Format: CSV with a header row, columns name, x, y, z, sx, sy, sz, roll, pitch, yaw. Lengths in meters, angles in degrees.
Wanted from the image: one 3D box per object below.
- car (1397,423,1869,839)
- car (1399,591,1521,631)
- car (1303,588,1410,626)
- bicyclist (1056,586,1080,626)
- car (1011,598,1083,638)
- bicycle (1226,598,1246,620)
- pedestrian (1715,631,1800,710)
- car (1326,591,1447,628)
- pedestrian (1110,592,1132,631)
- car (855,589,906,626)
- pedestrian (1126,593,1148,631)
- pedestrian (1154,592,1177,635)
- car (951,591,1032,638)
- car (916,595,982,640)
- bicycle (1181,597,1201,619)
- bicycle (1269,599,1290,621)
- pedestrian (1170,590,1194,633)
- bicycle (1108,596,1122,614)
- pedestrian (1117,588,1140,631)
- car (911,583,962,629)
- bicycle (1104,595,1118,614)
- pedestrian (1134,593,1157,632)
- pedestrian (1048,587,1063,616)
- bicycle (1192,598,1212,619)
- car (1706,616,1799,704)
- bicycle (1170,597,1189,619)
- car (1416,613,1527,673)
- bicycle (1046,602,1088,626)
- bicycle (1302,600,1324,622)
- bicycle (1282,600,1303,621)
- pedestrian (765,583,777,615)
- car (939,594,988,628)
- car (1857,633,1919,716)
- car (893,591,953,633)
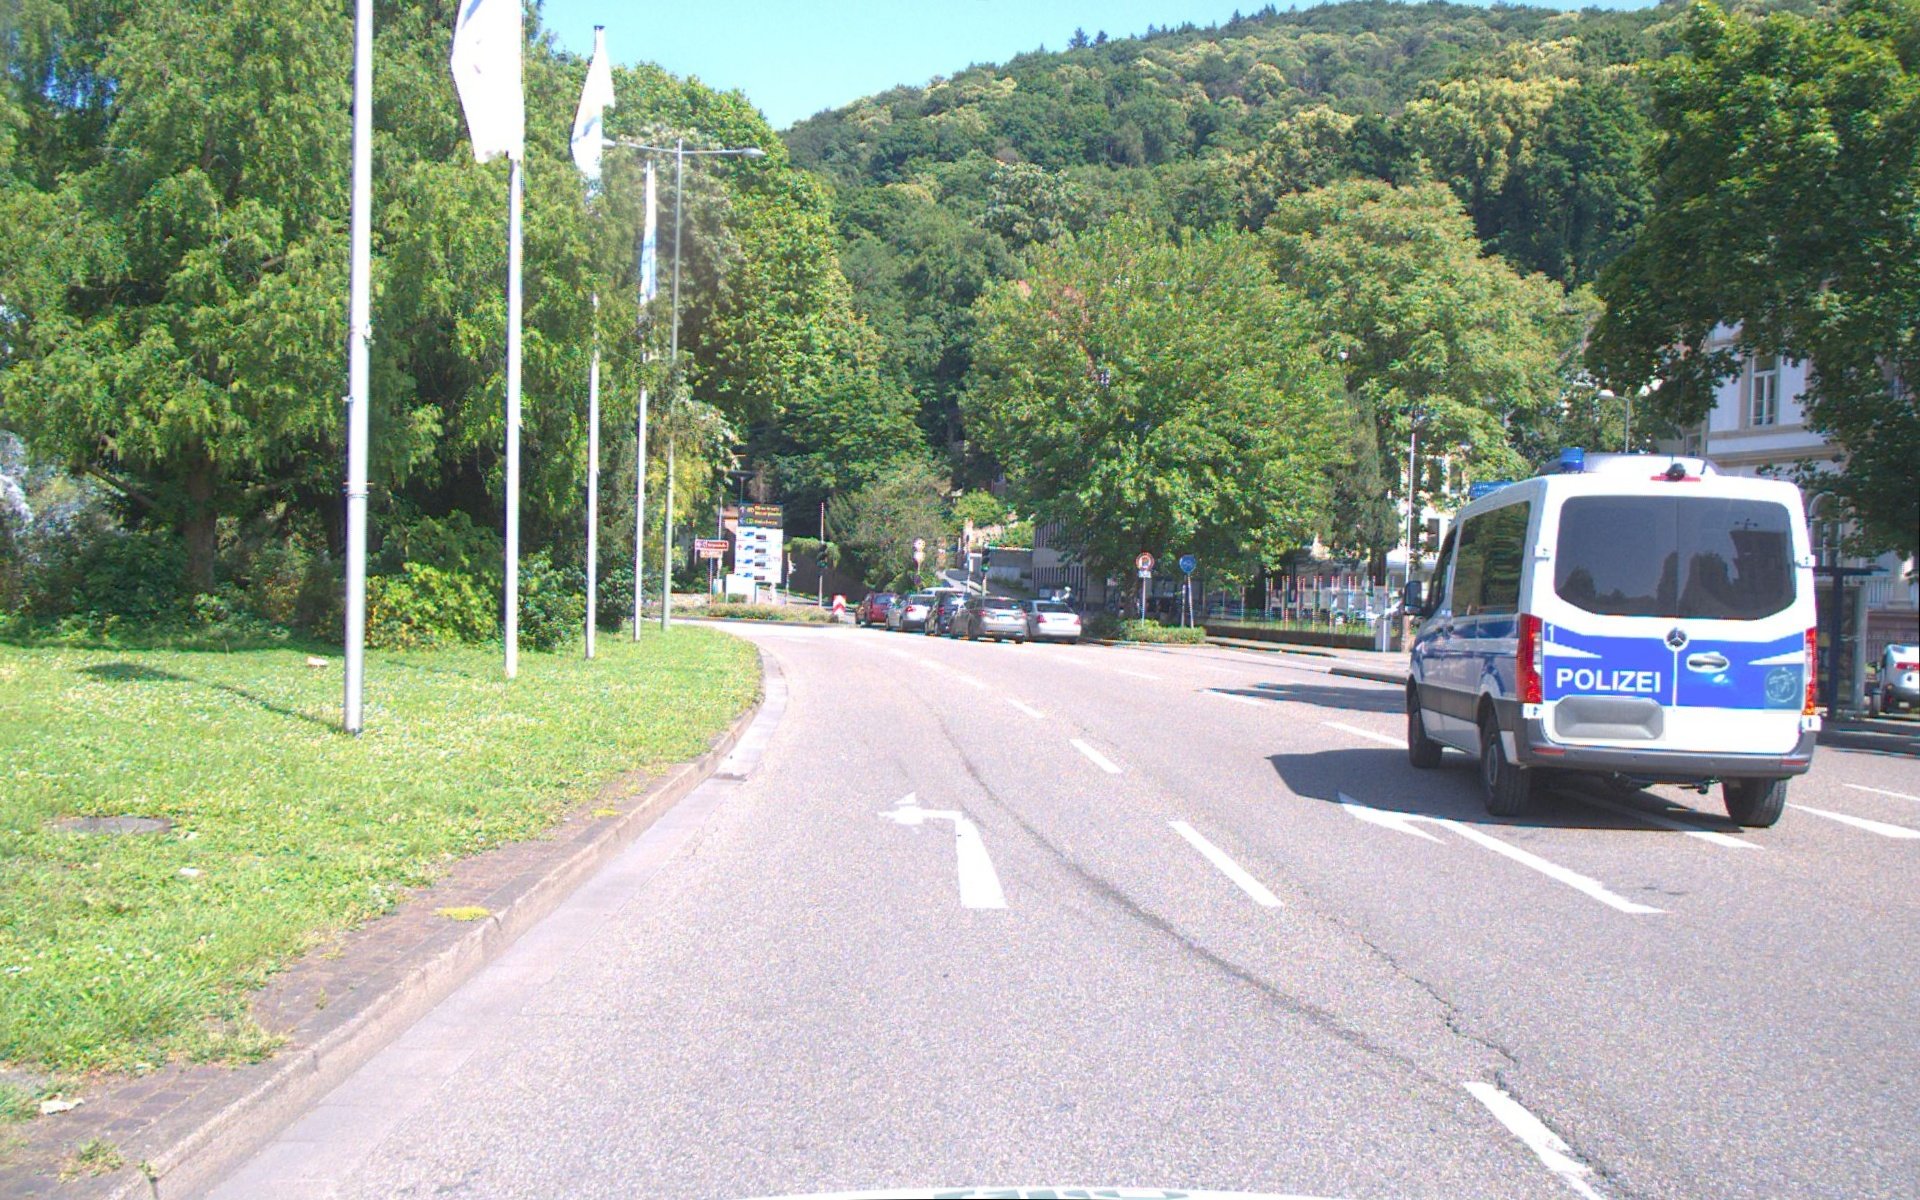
name,x,y,z,sx,sy,sz,roll,pitch,yaw
car,4.902,0.194,12.932,2.029,2.552,4.932,2,0,6
car,18.700,0.419,61.935,3.970,1.359,1.855,1,0,-13
car,17.079,0.309,71.252,4.074,1.501,1.870,1,0,-15
bicyclist,5.368,0.290,82.173,1.102,1.966,0.748,2,0,2
car,2.978,0.618,57.330,1.724,1.234,3.485,2,0,-10
bicycle,14.749,0.487,88.474,0.527,1.104,1.831,1,0,-8
pedestrian,12.866,1.134,26.692,1.008,1.218,0.784,2,0,-31
car,17.105,0.380,66.398,4.388,1.359,1.816,1,0,-13
pedestrian,7.277,0.521,74.624,0.757,1.692,0.827,2,0,-10
car,-3.455,0.306,71.522,1.724,1.486,3.485,2,0,-10
pedestrian,8.050,0.522,75.200,0.757,1.692,0.828,2,0,-9
pedestrian,9.148,0.585,73.657,0.757,1.886,0.827,2,0,-12
car,0.974,0.439,52.715,1.725,1.357,3.790,2,0,-12
car,-0.407,0.600,58.708,1.724,1.486,3.485,2,0,-10
bicycle,12.322,0.433,88.163,0.527,1.104,1.831,1,0,-8
bicycle,17.149,0.540,88.740,0.527,1.104,1.831,1,0,-8
pedestrian,10.020,0.520,74.651,0.757,1.886,0.827,2,0,-12
bicycle,8.519,0.292,90.980,0.398,0.957,1.338,1,1,-10
pedestrian,7.481,0.429,73.429,0.757,1.886,0.827,2,0,-10
car,-1.094,0.244,75.787,1.724,1.972,3.485,2,0,-10
bicycle,8.483,0.241,92.895,0.398,1.030,1.338,1,1,-10
pedestrian,8.306,0.542,74.007,0.757,1.692,0.828,2,0,-9
pedestrian,4.873,0.075,84.564,0.482,1.483,0.729,1,0,-22
bicycle,12.899,0.446,88.261,0.527,1.104,1.831,1,0,-8
car,17.308,1.251,36.086,1.675,1.725,4.269,2,0,27
bicycle,11.697,0.419,88.074,0.527,1.104,1.831,1,0,-8
car,13.987,1.151,45.083,1.790,1.487,4.095,2,0,33
bicycle,5.310,0.694,82.182,2.033,1.132,0.757,2,0,2
bicycle,18.973,0.580,88.955,0.527,1.104,1.831,1,0,-8
bicycle,17.829,0.555,88.659,0.527,1.104,1.831,1,0,-8
pedestrian,-9.770,-0.044,85.576,0.536,1.649,0.634,1,1,-1
car,0.153,0.508,79.305,1.724,1.486,3.485,2,0,-10
car,18.371,1.441,32.362,1.173,1.508,2.288,2,0,23
car,-1.460,0.431,63.908,1.724,1.486,3.637,2,0,-10
